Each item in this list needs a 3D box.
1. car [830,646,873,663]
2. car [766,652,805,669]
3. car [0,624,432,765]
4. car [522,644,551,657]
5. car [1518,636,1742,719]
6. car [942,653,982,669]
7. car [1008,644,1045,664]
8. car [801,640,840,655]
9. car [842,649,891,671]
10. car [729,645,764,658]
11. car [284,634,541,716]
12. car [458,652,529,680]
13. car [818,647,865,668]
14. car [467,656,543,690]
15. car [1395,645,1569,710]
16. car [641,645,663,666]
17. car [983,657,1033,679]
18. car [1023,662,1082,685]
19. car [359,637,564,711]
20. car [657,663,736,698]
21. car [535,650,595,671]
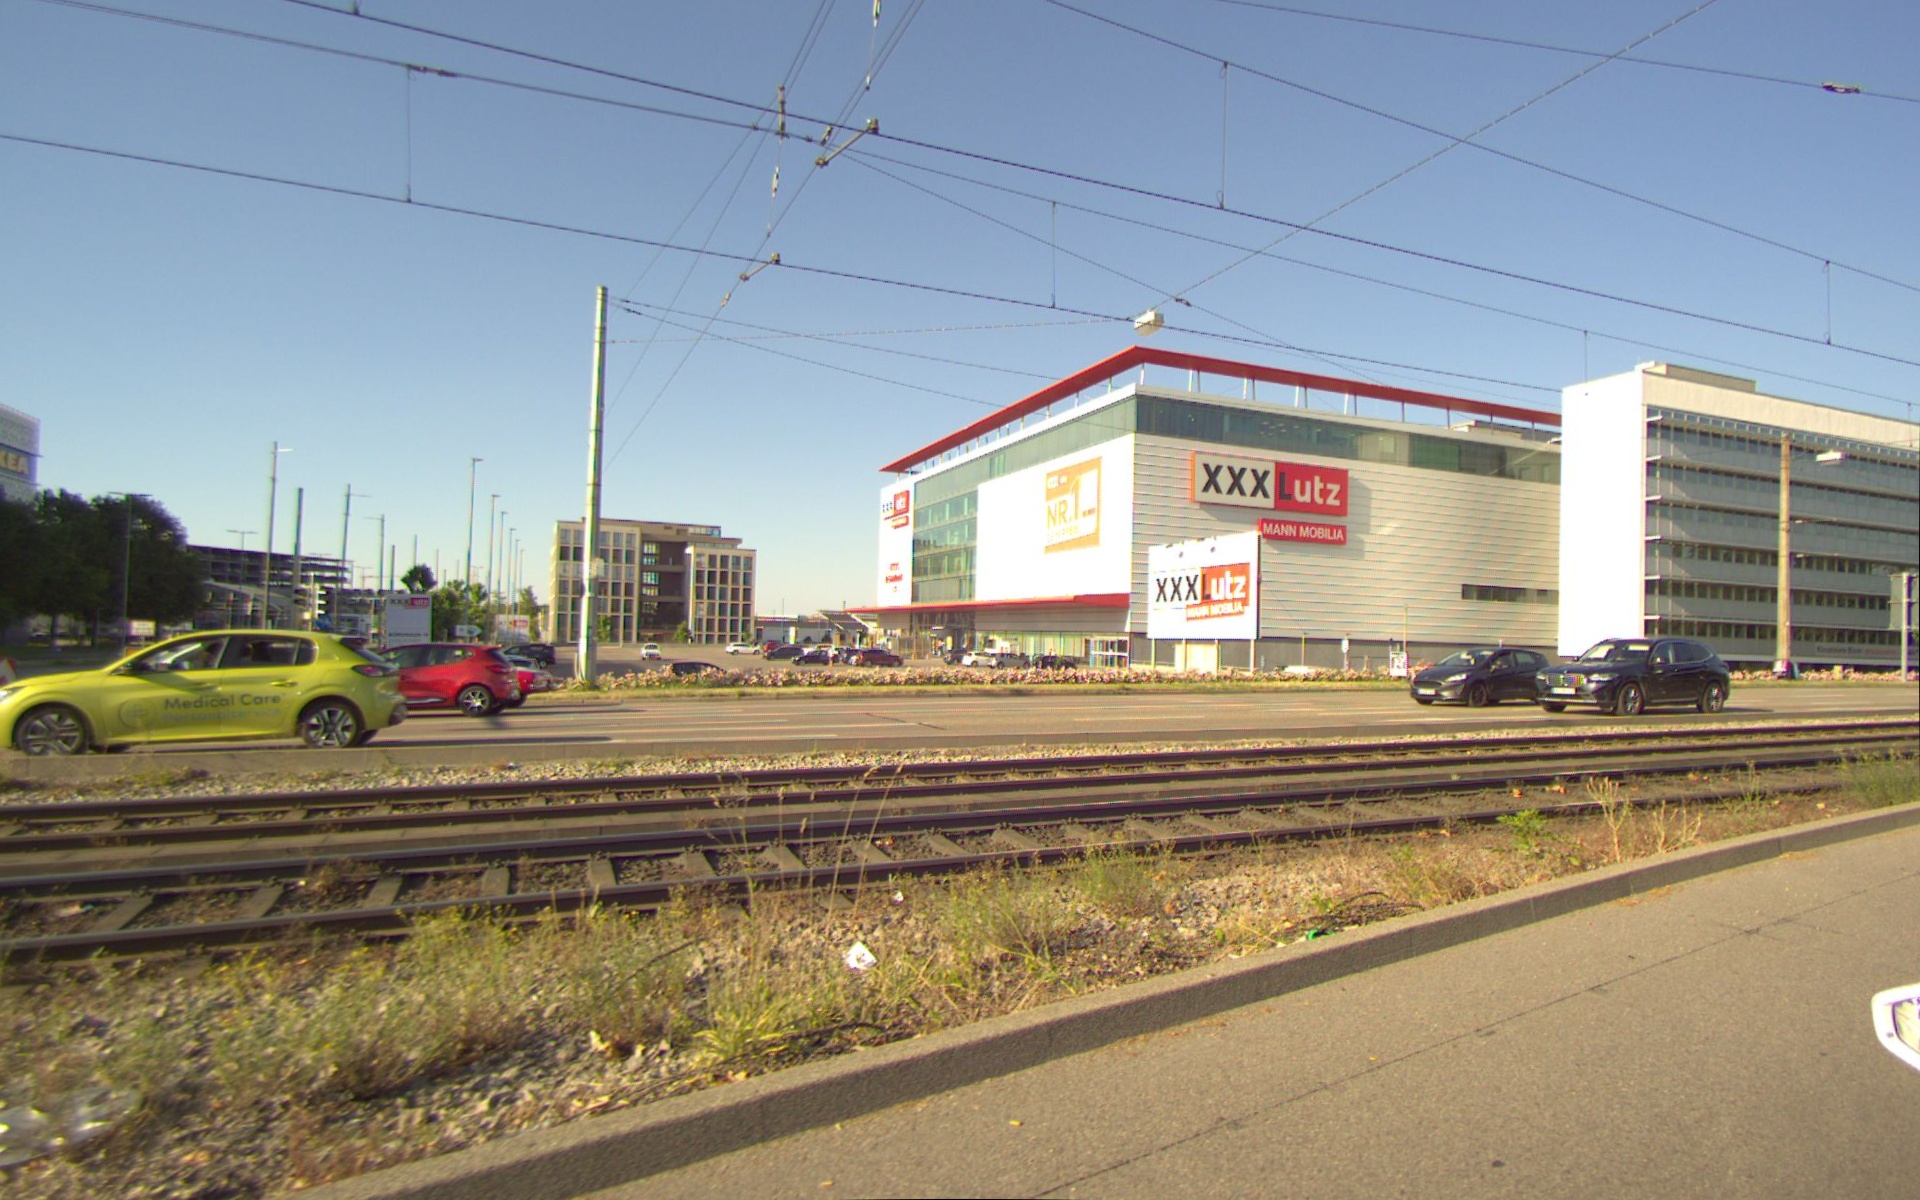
[{"bbox_3d":[-11.077,5.551,102.764,3.950,1.640,1.866,2,1,-28],"label":"car"},{"bbox_3d":[-18.753,6.533,107.870,3.934,1.737,1.994,2,-3,-16],"label":"car"},{"bbox_3d":[-8.698,1.065,11.999,4.051,1.466,1.779,2,-3,-24],"label":"car"},{"bbox_3d":[-64.894,7.741,153.946,3.944,1.805,1.988,2,1,-24],"label":"car"},{"bbox_3d":[14.830,1.660,22.239,4.594,1.677,1.989,2,-2,-24],"label":"car"},{"bbox_3d":[0.197,5.978,98.460,3.613,1.387,1.650,2,1,-23],"label":"car"},{"bbox_3d":[6.581,5.344,99.466,3.242,1.880,1.503,2,1,-23],"label":"car"},{"bbox_3d":[-15.927,5.410,114.931,3.954,1.640,1.864,2,1,-31],"label":"car"},{"bbox_3d":[-8.416,5.382,90.226,3.946,1.838,1.987,2,1,-25],"label":"car"},{"bbox_3d":[-26.645,6.416,125.348,3.942,1.468,1.869,2,1,-22],"label":"car"},{"bbox_3d":[-10.654,1.486,19.903,4.064,1.495,1.935,2,-4,-16],"label":"car"},{"bbox_3d":[-29.390,4.137,63.307,3.950,1.614,1.921,2,1,-28],"label":"car"},{"bbox_3d":[-11.072,5.367,93.926,3.946,1.725,1.968,2,1,-25],"label":"car"},{"bbox_3d":[-26.682,4.269,58.911,3.950,1.768,1.921,2,1,-28],"label":"car"},{"bbox_3d":[13.122,1.895,25.243,4.083,1.480,1.850,2,-2,-26],"label":"car"},{"bbox_3d":[-32.259,5.778,105.155,1.800,1.824,4.208,2,1,-21],"label":"car"},{"bbox_3d":[4.265,6.018,88.987,3.946,1.725,1.915,2,1,-25],"label":"car"},{"bbox_3d":[7.468,5.896,80.958,4.389,1.725,1.915,2,1,-26],"label":"car"},{"bbox_3d":[-11.649,1.730,23.731,3.928,1.664,1.824,1,-3,-10],"label":"car"},{"bbox_3d":[-13.884,4.243,52.953,3.936,1.746,1.864,1,-2,-17],"label":"car"},{"bbox_3d":[-32.241,4.907,82.067,4.385,1.573,1.660,2,1,-29],"label":"car"}]
